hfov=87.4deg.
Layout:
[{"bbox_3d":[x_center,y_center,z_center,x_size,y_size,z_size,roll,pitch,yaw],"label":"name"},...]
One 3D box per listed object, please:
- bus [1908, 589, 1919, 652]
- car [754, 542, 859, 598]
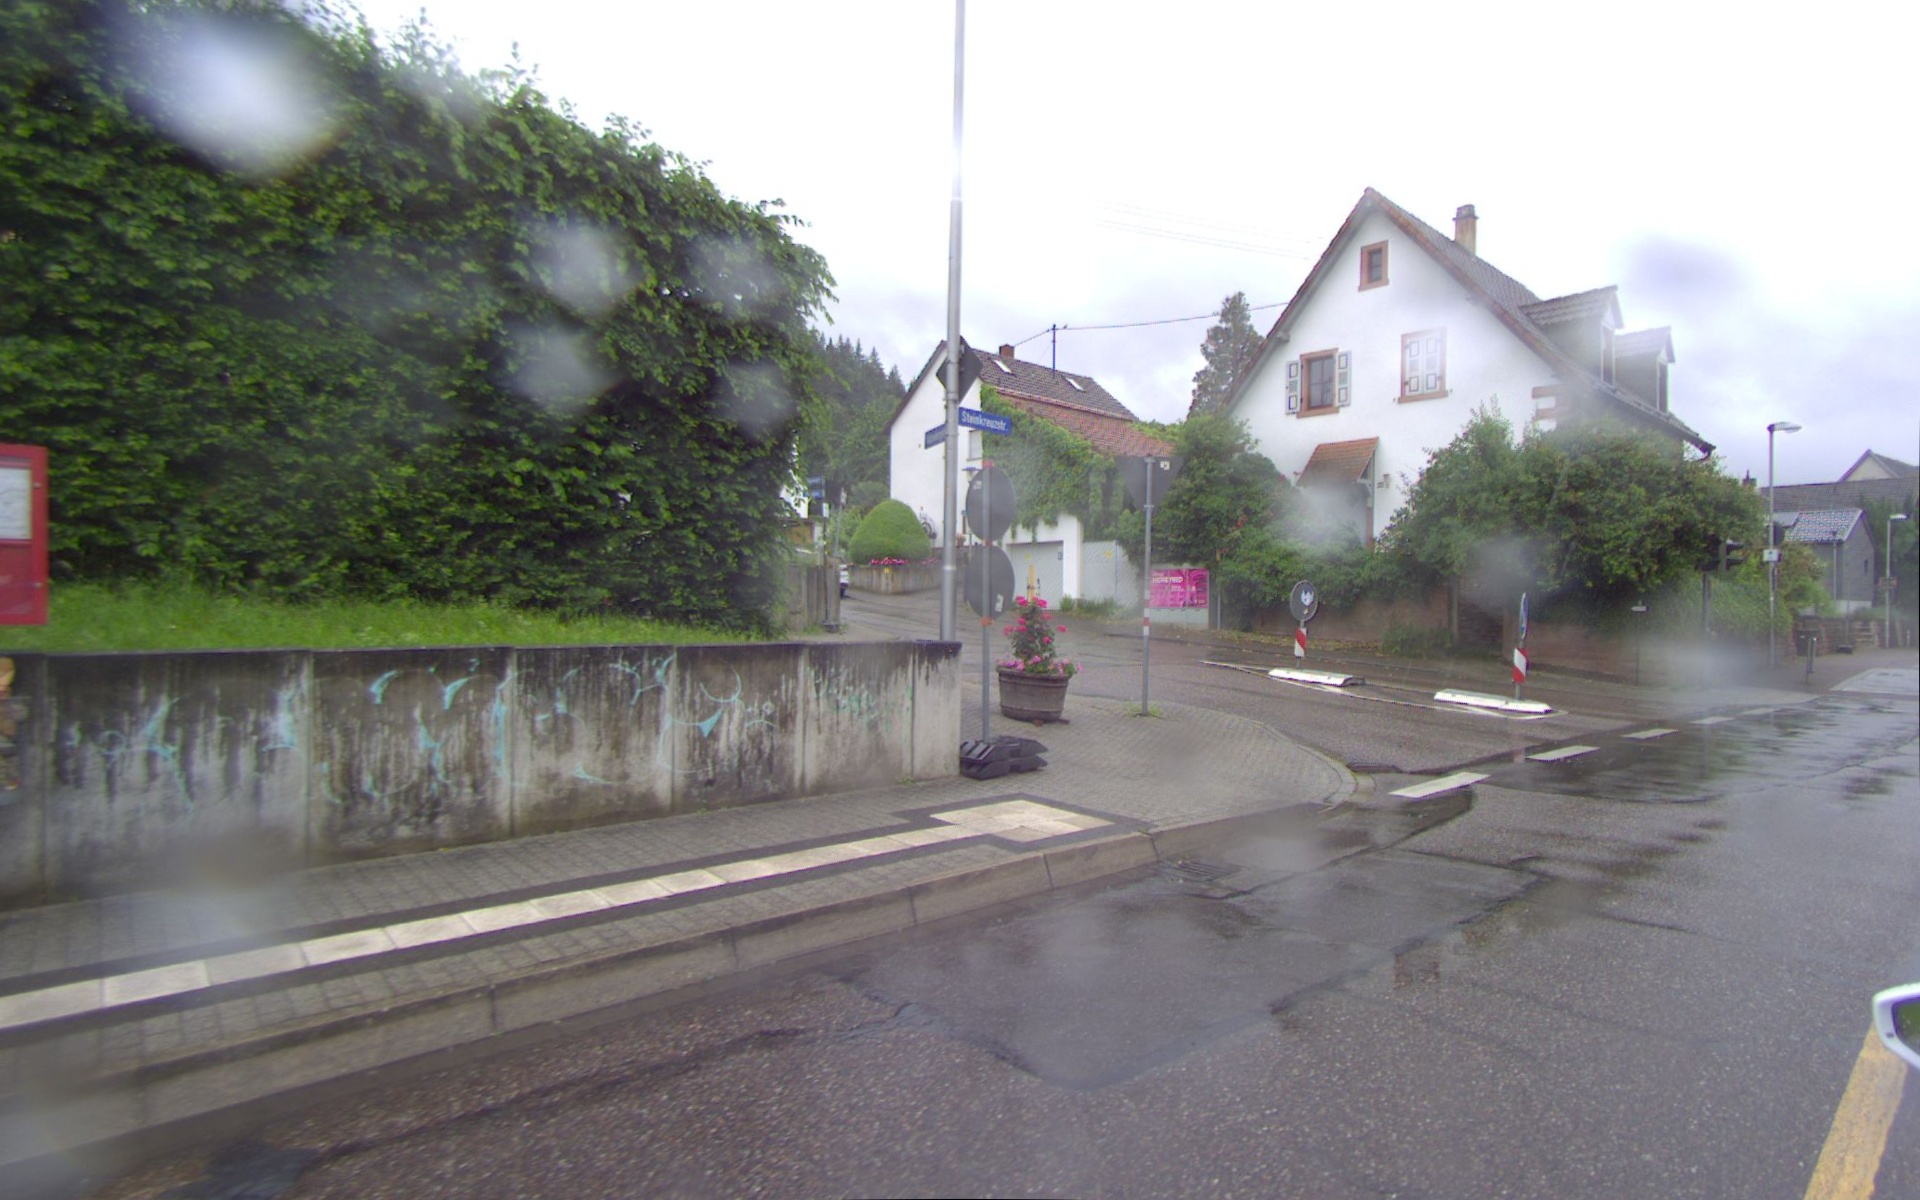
[{"bbox_3d":[52.396,0.974,52.746,12.095,3.040,2.626,-1,2,-41],"label":"bus"},{"bbox_3d":[-5.552,-1.087,36.011,1.886,1.534,3.844,2,6,-41],"label":"car"}]
